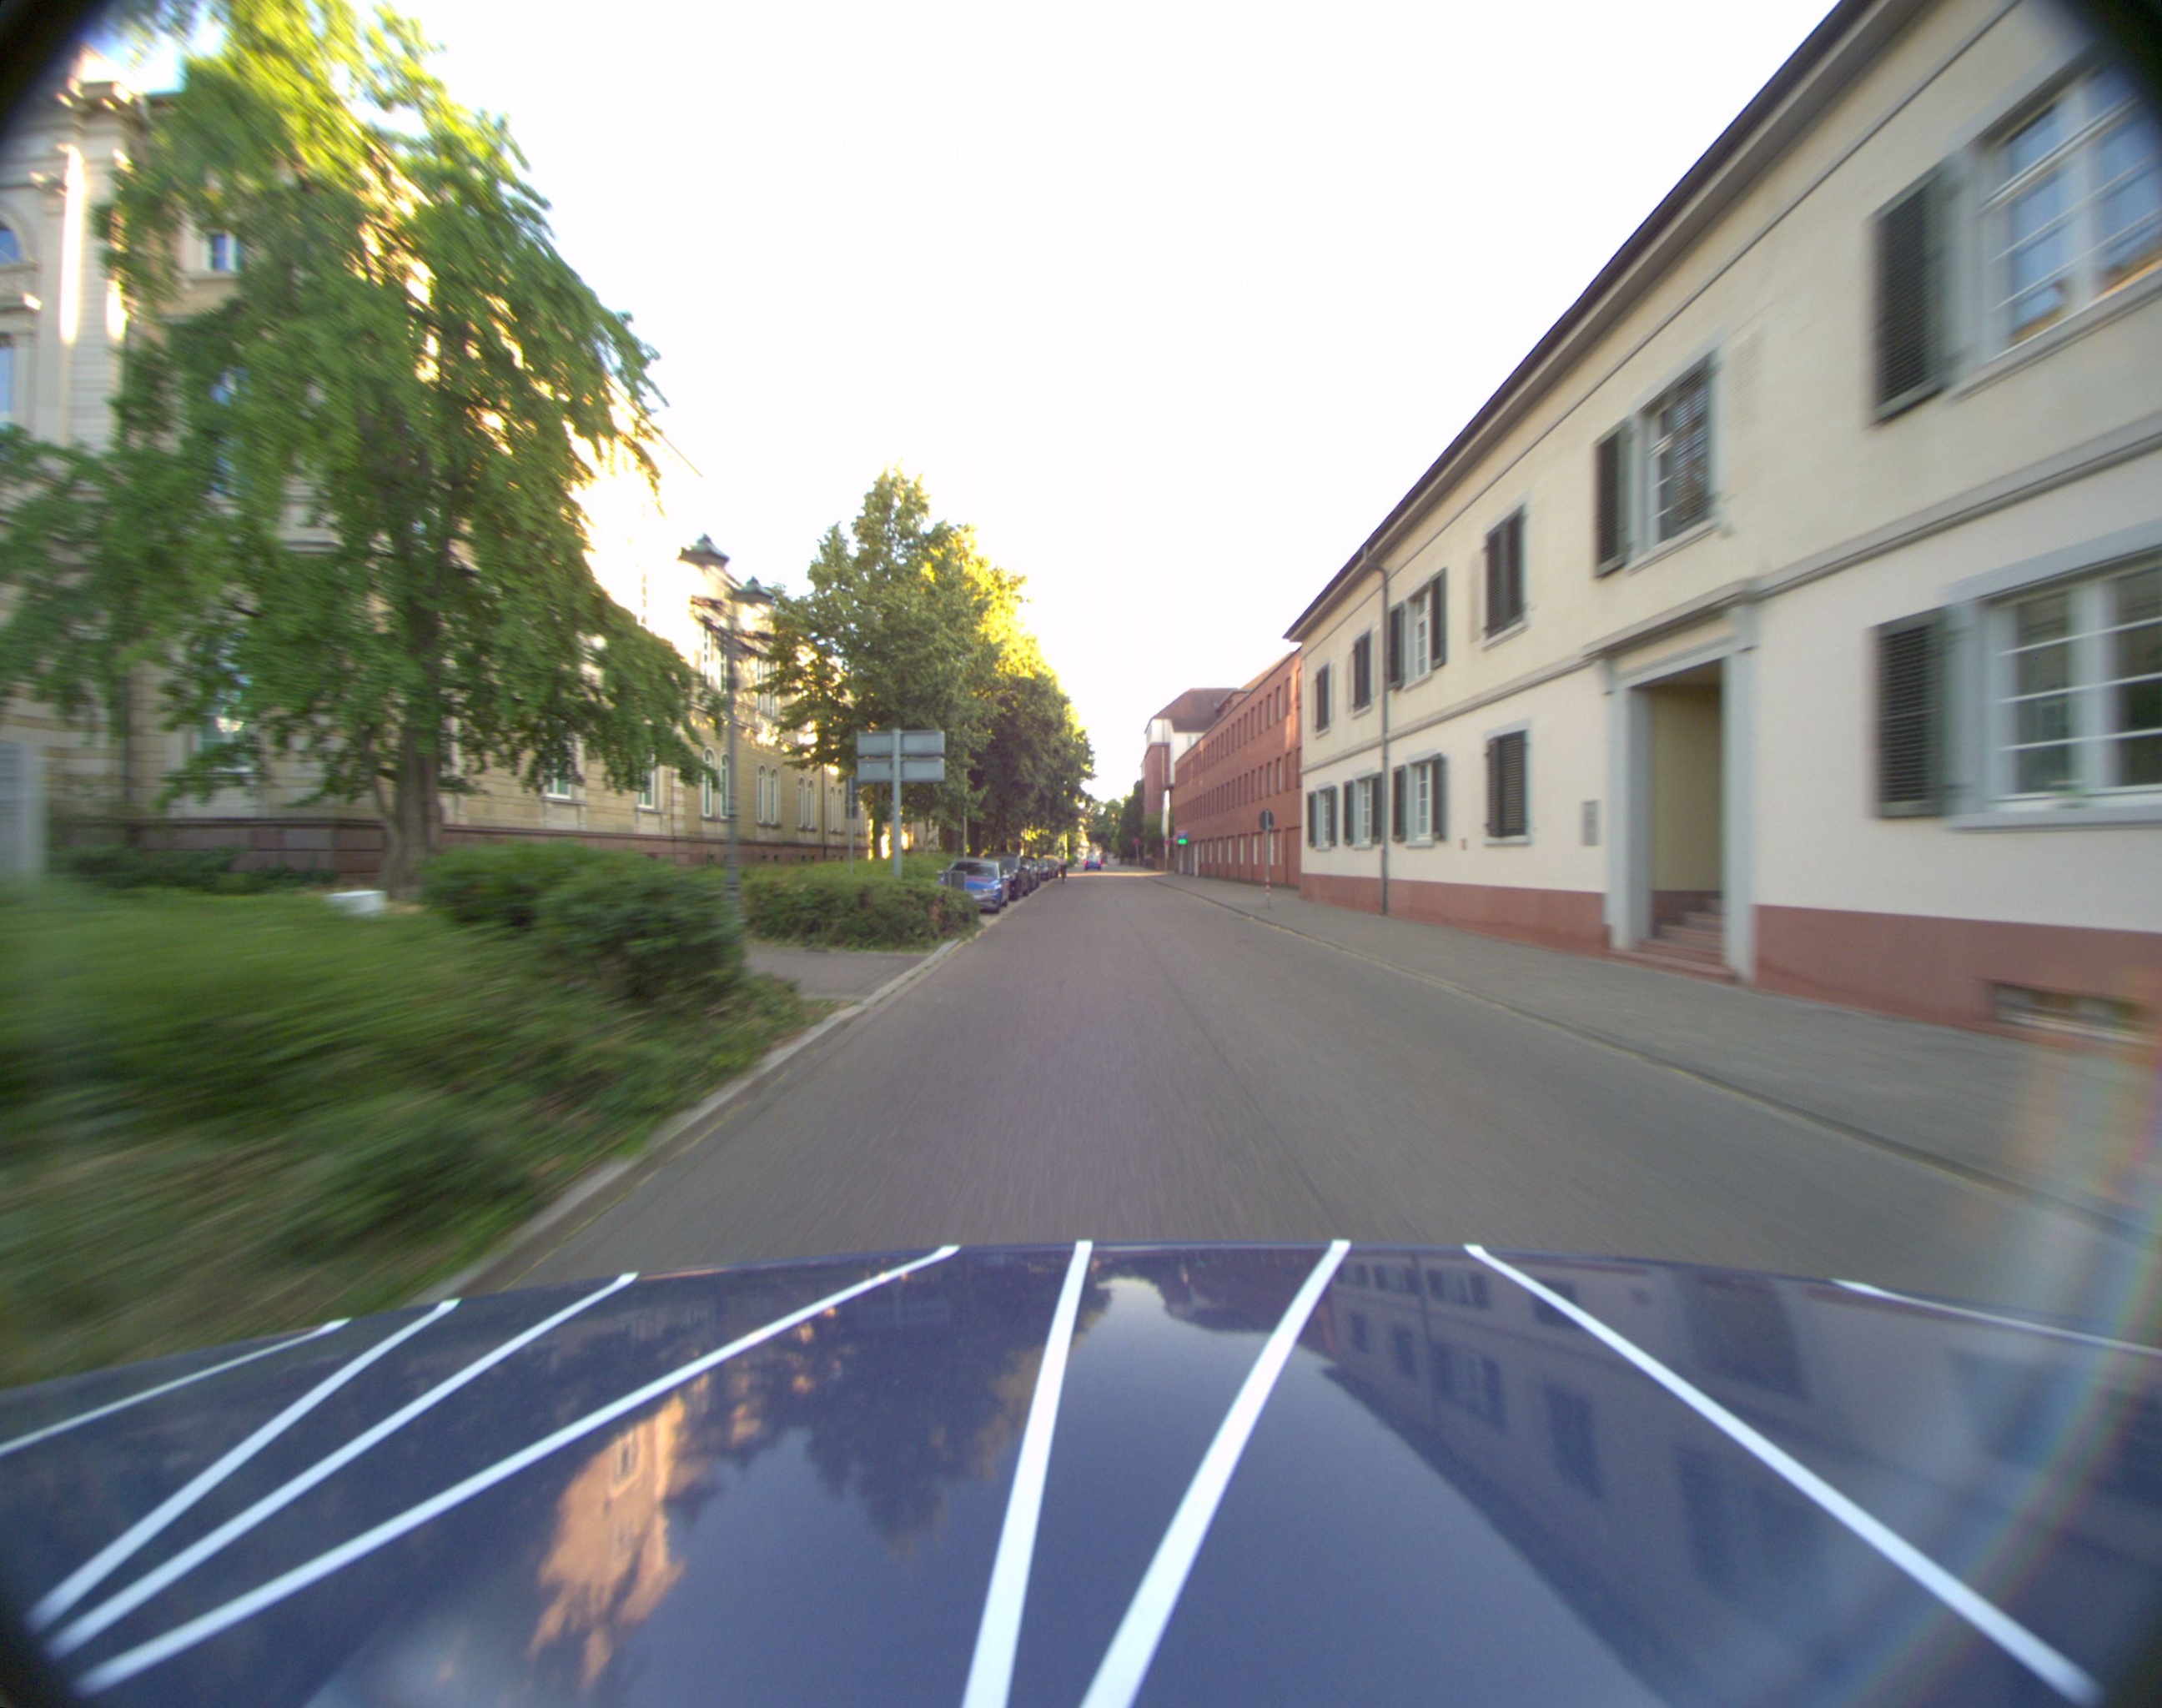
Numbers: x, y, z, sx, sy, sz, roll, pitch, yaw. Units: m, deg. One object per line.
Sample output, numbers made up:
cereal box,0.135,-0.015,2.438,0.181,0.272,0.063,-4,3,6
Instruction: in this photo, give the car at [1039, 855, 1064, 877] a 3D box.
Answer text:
car,-2.315,0.902,60.950,1.728,1.525,4.622,5,1,0

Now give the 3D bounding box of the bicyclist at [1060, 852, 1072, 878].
bicyclist,-0.925,0.685,46.580,0.753,1.603,1.038,0,0,-2

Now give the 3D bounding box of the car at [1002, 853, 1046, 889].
car,-2.879,0.843,39.203,1.811,1.641,4.419,4,0,0

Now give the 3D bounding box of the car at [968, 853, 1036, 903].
car,-2.817,0.810,28.112,1.728,1.642,4.713,1,1,3

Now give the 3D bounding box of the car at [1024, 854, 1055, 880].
car,-2.703,0.833,50.717,1.739,1.498,4.521,4,1,0

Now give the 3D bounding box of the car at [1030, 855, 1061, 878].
car,-2.587,0.903,56.165,1.728,1.525,4.190,4,1,3

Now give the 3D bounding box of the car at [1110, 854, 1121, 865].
car,6.804,1.137,150.082,1.886,2.039,4.324,0,1,1

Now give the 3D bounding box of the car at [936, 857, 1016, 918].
car,-2.968,0.894,22.363,1.728,1.479,4.610,3,0,-1

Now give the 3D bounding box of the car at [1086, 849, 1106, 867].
car,1.693,0.494,87.687,1.999,1.863,5.109,0,-2,-2

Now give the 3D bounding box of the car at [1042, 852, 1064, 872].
car,-2.468,0.729,68.015,1.728,1.673,4.499,0,1,0

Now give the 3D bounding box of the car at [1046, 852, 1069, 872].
car,-2.265,0.776,73.714,1.809,1.803,4.948,1,1,3

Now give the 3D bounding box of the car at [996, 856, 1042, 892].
car,-2.724,0.869,34.304,1.728,1.529,4.189,0,0,0

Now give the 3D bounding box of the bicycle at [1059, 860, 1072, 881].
bicycle,-0.949,1.010,46.561,0.753,1.245,2.209,0,0,-2
